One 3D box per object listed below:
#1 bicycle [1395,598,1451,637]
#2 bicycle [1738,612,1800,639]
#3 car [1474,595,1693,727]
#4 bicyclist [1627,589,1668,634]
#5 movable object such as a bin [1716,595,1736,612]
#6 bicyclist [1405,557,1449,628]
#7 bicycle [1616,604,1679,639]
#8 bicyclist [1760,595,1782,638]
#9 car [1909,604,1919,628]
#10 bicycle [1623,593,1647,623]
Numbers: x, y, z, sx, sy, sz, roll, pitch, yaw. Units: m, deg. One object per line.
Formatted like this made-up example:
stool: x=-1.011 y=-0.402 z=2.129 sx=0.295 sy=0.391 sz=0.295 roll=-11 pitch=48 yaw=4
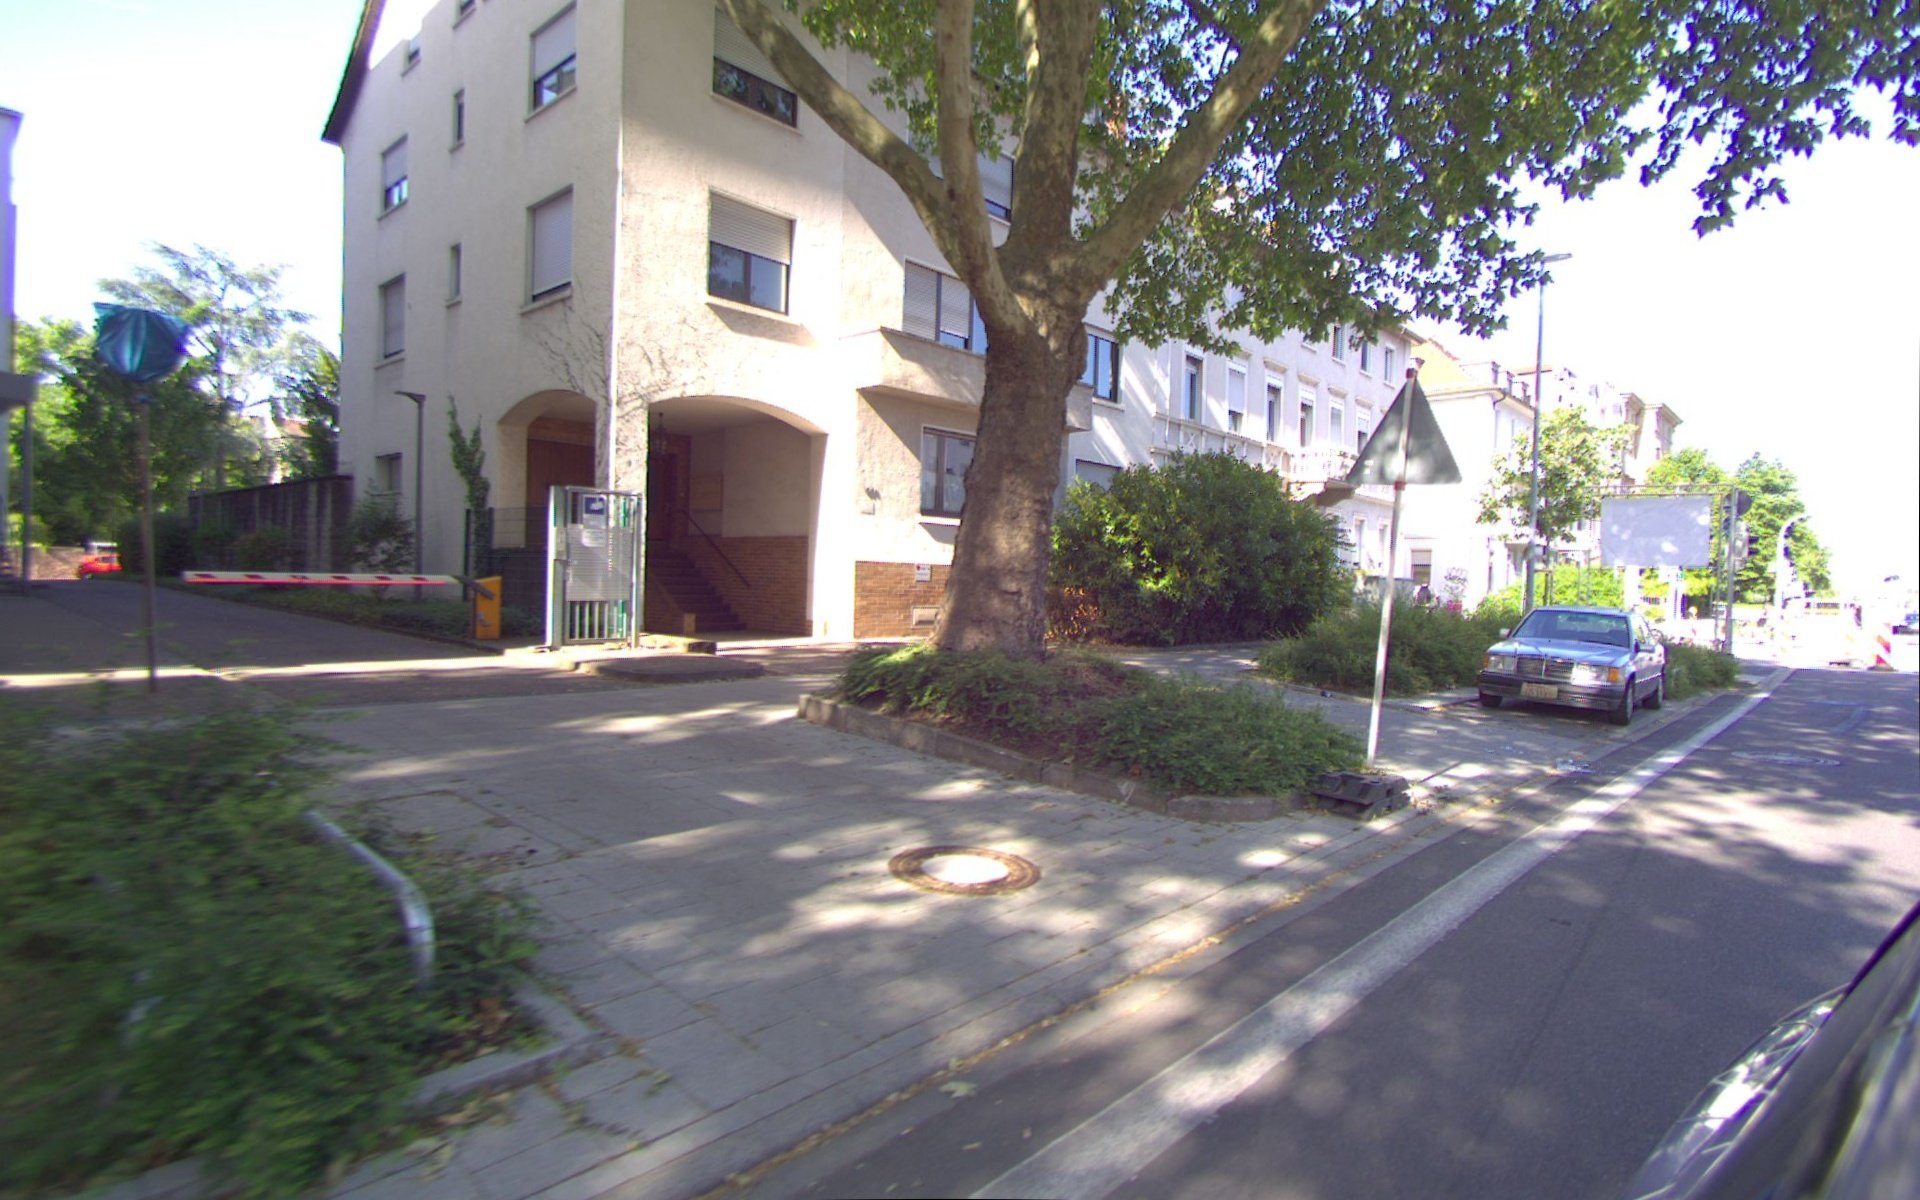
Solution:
bicycle: x=12.334 y=0.448 z=26.923 sx=0.783 sy=0.978 sz=1.793 roll=2 pitch=1 yaw=45
bicycle: x=33.162 y=1.031 z=41.489 sx=1.962 sy=1.038 sz=0.595 roll=0 pitch=-1 yaw=43
car: x=8.933 y=0.713 z=14.285 sx=1.851 sy=1.498 sz=4.868 roll=2 pitch=1 yaw=41
bicyclist: x=24.007 y=0.383 z=35.345 sx=0.855 sy=1.518 sz=0.726 roll=2 pitch=1 yaw=0
movable object such as a bin: x=65.445 y=0.311 z=86.469 sx=0.962 sy=1.415 sz=1.279 roll=4 pitch=1 yaw=20
bicyclist: x=12.443 y=-0.200 z=26.970 sx=0.724 sy=1.843 sz=1.054 roll=2 pitch=1 yaw=44
bicycle: x=23.992 y=0.754 z=35.340 sx=1.655 sy=1.112 sz=0.691 roll=3 pitch=0 yaw=0
bicyclist: x=33.174 y=0.677 z=41.411 sx=0.603 sy=1.730 sz=0.845 roll=2 pitch=1 yaw=43
car: x=71.380 y=1.202 z=74.577 sx=1.992 sy=1.794 sz=3.939 roll=0 pitch=-1 yaw=42
bicycle: x=34.489 y=0.420 z=51.668 sx=0.707 sy=1.462 sz=2.453 roll=0 pitch=-1 yaw=41
